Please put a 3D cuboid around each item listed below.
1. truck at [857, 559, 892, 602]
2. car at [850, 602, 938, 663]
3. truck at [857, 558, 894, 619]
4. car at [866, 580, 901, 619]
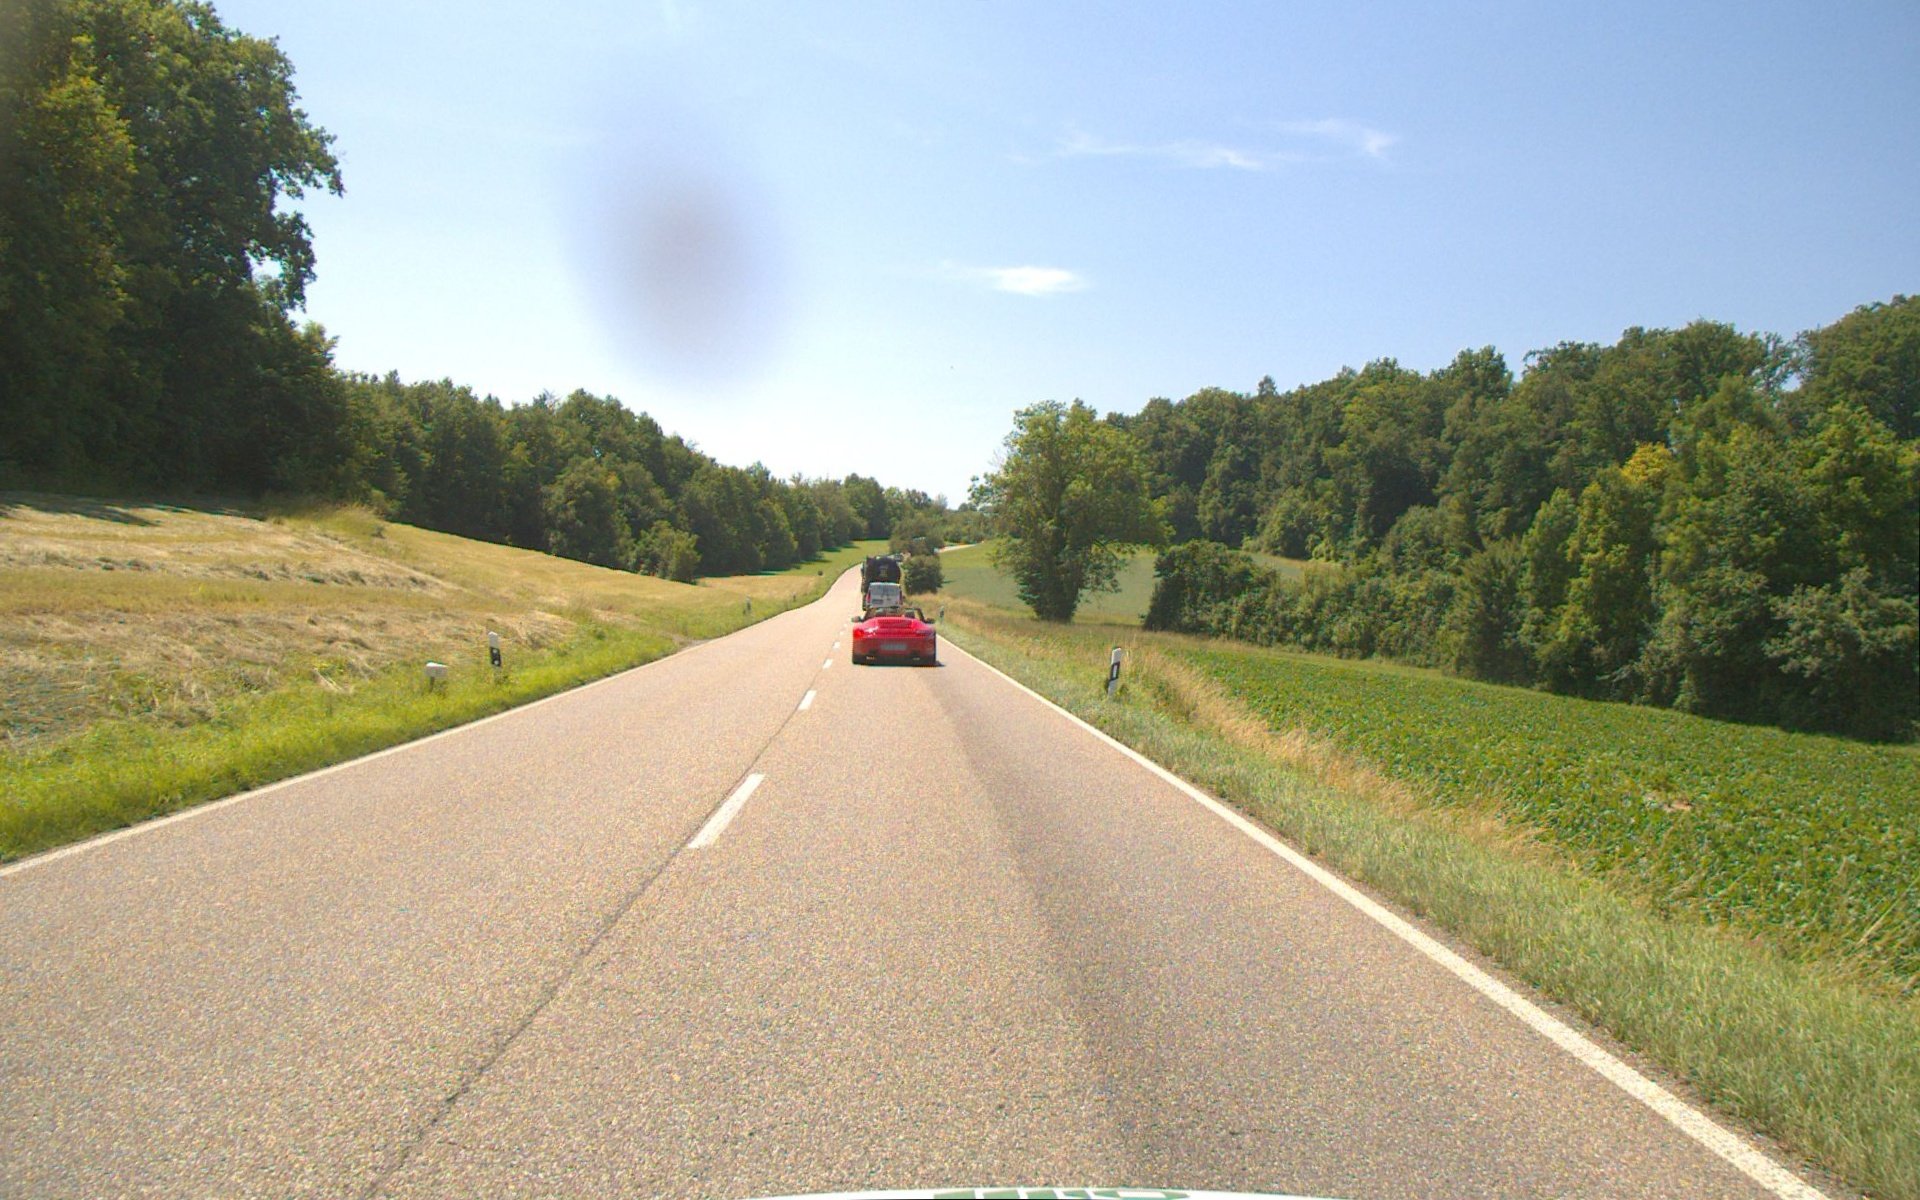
[{"bbox_3d":[-10.748,-2.496,206.749,3.653,4.740,12.021,1,3,-6],"label":"truck"},{"bbox_3d":[-1.485,0.701,37.006,1.845,1.277,4.007,1,0,-3],"label":"car"},{"bbox_3d":[-6.270,-0.959,120.742,2.356,4.120,12.541,1,2,-4],"label":"truck"},{"bbox_3d":[-3.888,-0.054,84.511,1.644,1.934,4.009,0,1,-1],"label":"car"}]
